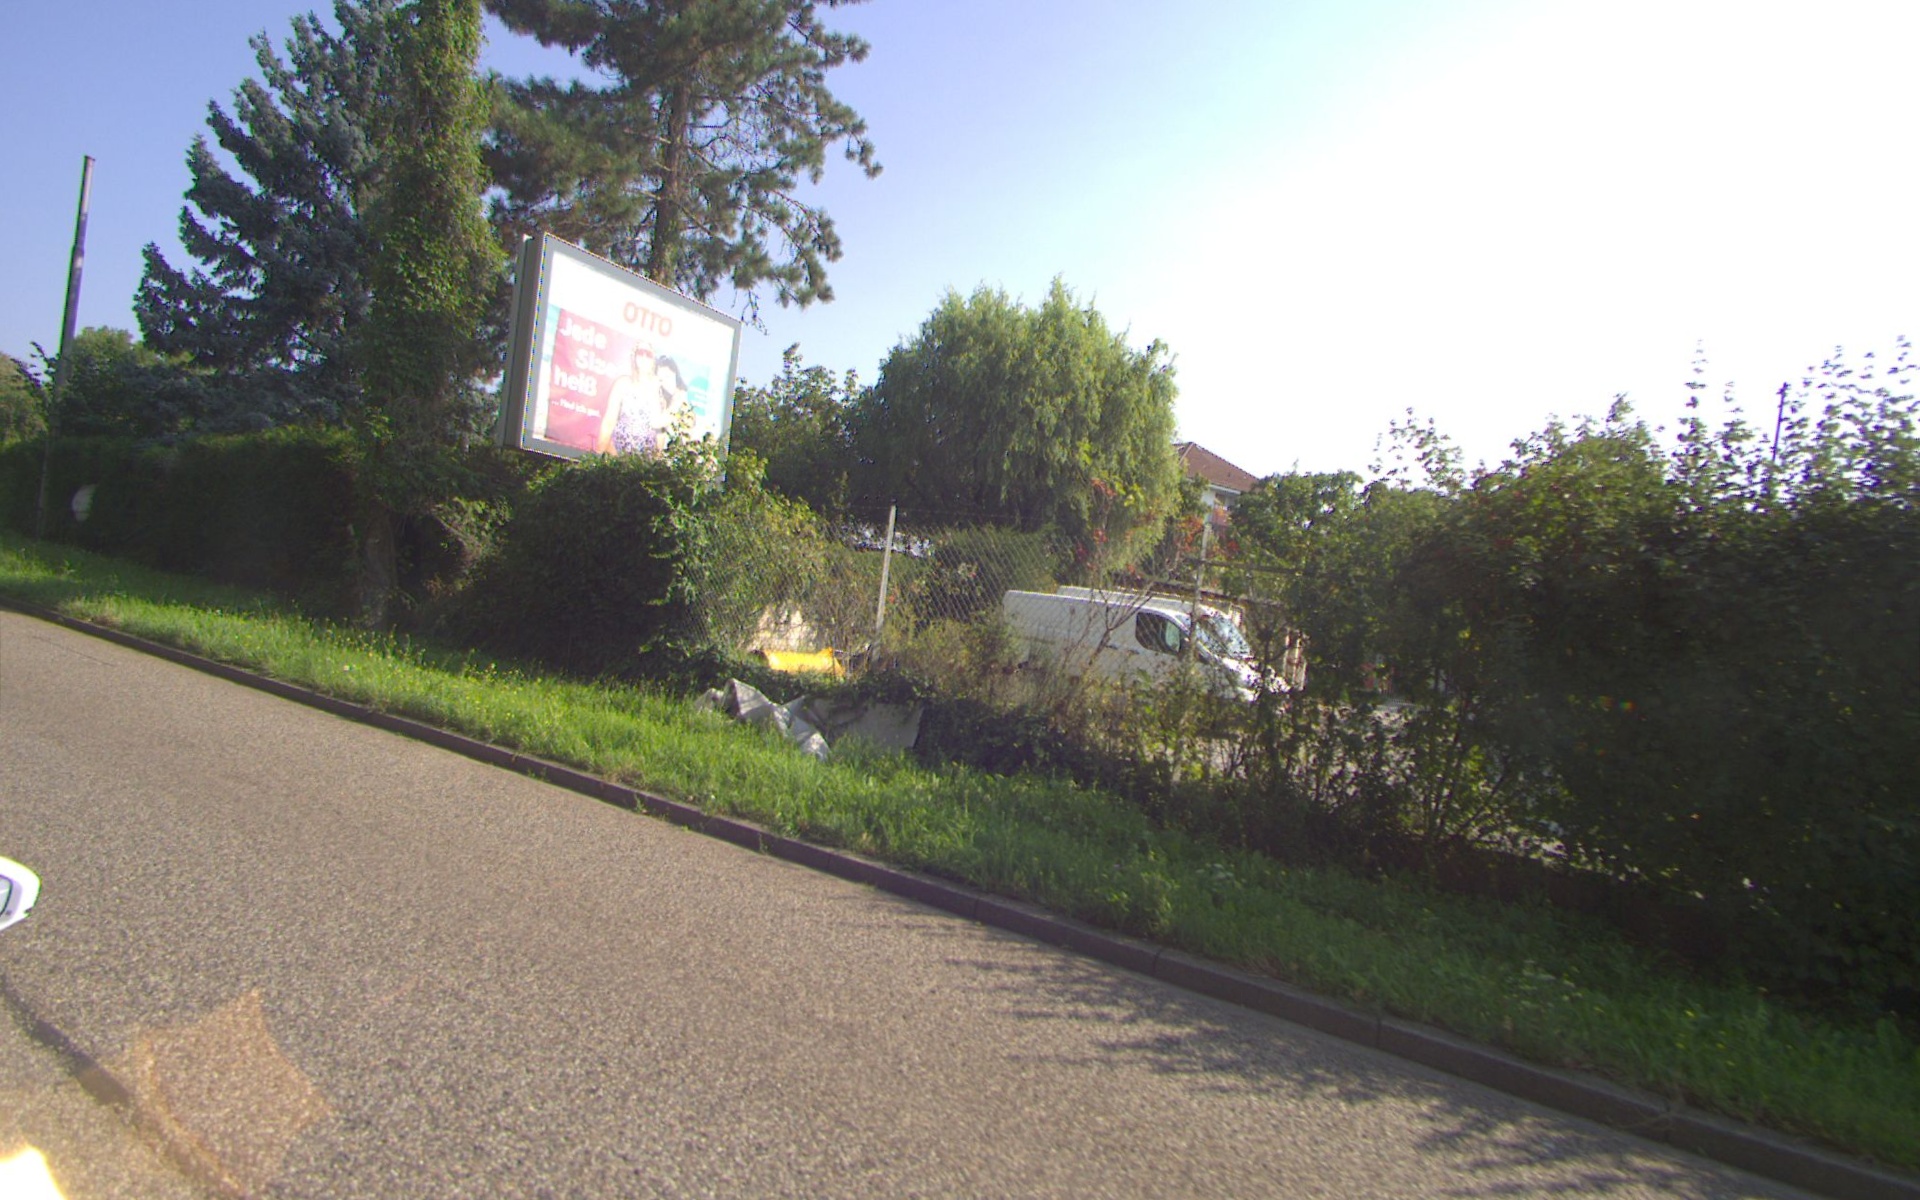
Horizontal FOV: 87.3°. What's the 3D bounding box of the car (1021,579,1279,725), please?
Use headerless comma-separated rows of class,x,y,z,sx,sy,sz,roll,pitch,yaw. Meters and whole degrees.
car,3.791,1.003,20.301,4.587,2.250,1.750,7,0,28

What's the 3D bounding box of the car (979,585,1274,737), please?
car,2.860,1.005,17.584,4.587,1.948,1.750,7,0,28

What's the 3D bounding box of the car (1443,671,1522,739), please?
car,14.984,2.978,28.950,1.721,1.596,3.674,7,-1,27
